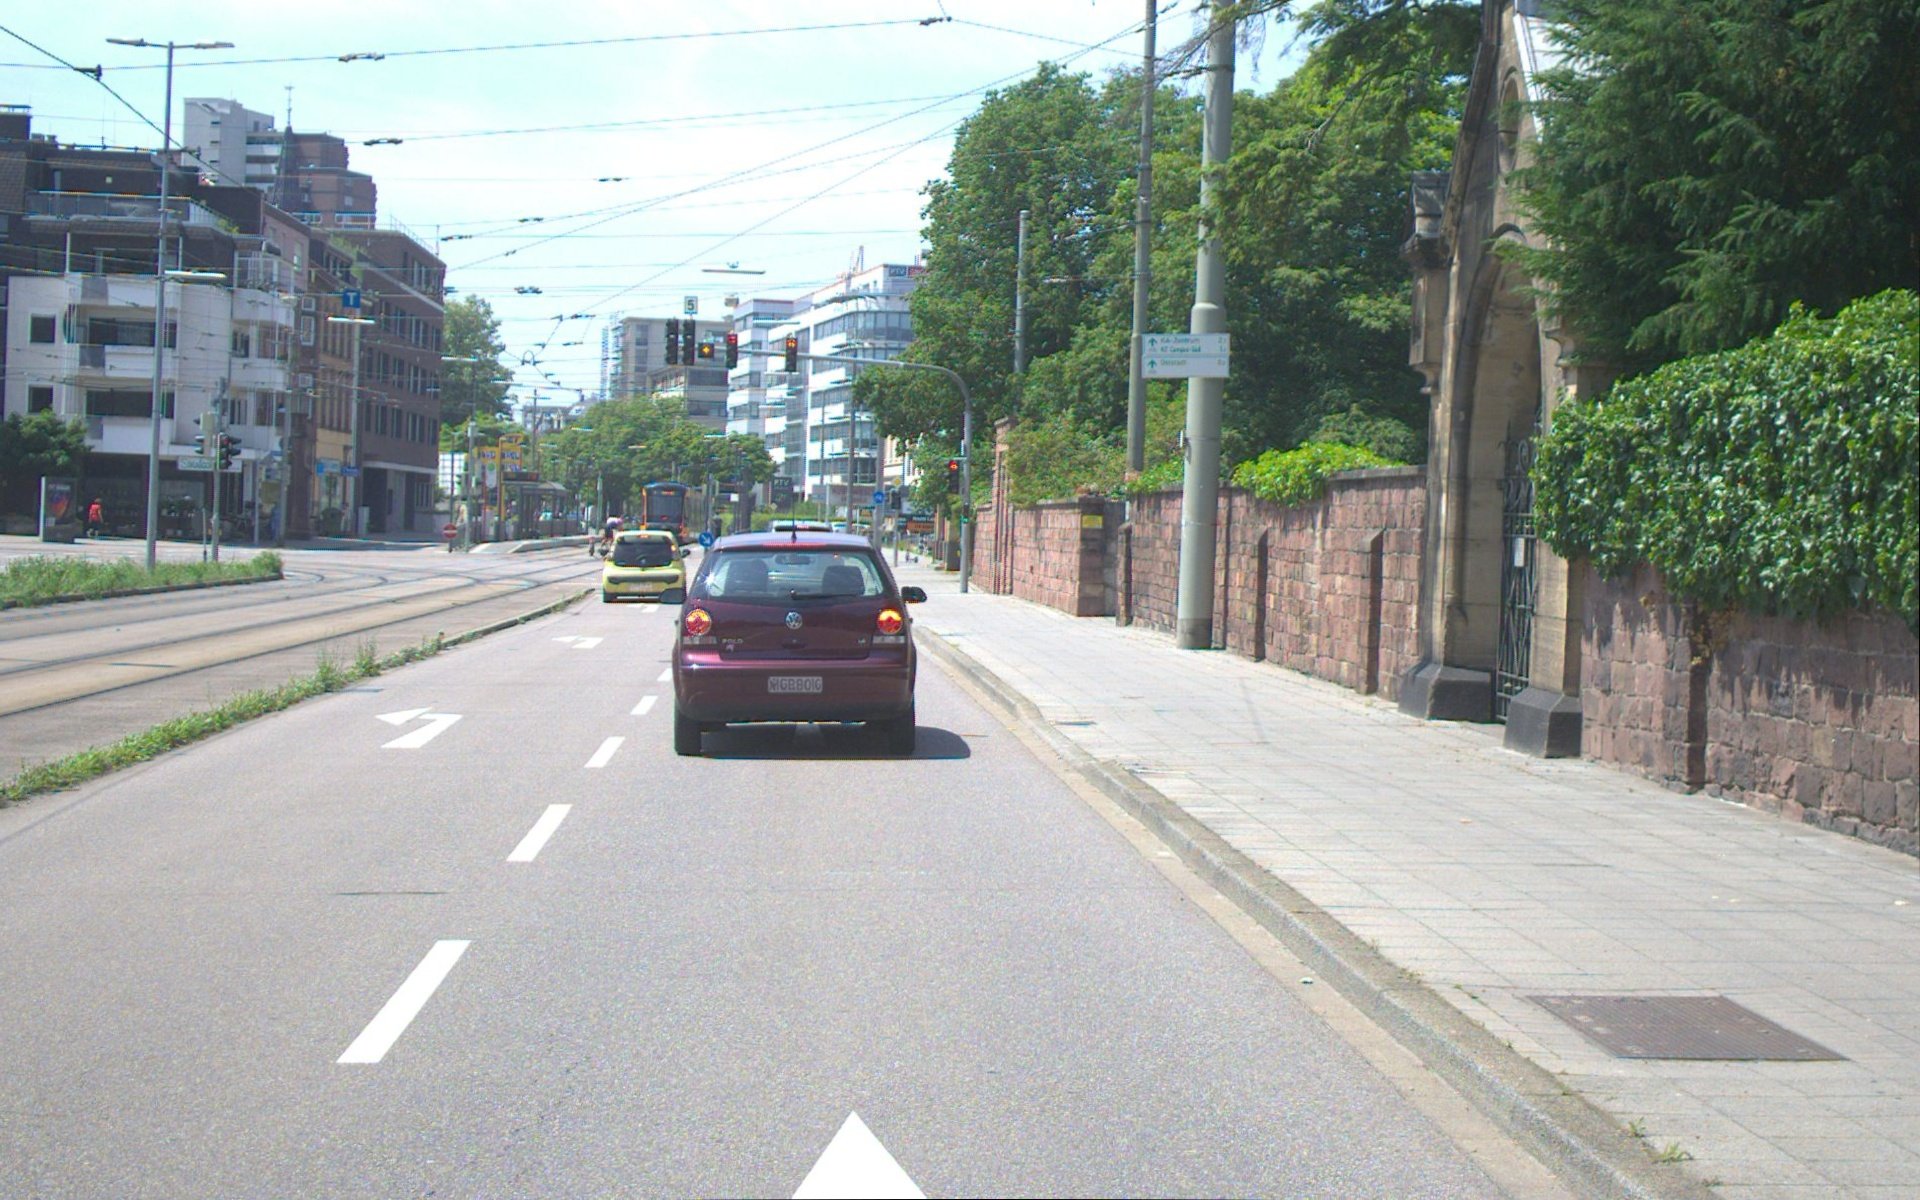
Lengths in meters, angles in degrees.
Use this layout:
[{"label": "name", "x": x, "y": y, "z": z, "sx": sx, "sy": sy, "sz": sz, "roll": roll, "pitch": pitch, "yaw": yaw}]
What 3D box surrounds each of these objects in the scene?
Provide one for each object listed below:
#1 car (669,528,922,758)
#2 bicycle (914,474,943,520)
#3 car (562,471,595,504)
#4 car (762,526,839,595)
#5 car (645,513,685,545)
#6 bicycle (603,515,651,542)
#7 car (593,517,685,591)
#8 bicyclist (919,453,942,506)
[{"label": "car", "x": -1.157, "y": 0.231, "z": 24.029, "sx": 1.610, "sy": 1.458, "sz": 4.086, "roll": 0, "pitch": 1, "yaw": -3}, {"label": "bicycle", "x": -1.106, "y": -3.552, "z": 119.291, "sx": 0.835, "sy": 1.520, "sz": 4.000, "roll": 1, "pitch": 1, "yaw": -2}, {"label": "car", "x": -24.256, "y": -7.128, "z": 218.655, "sx": 1.735, "sy": 2.007, "sz": 4.001, "roll": 2, "pitch": 1, "yaw": -2}, {"label": "car", "x": -3.353, "y": -0.848, "z": 72.088, "sx": 1.572, "sy": 1.411, "sz": 3.721, "roll": 0, "pitch": 1, "yaw": -3}, {"label": "car", "x": -15.552, "y": -3.724, "z": 181.495, "sx": 1.938, "sy": 1.635, "sz": 4.001, "roll": 1, "pitch": 1, "yaw": -3}, {"label": "bicycle", "x": -12.991, "y": -2.795, "z": 134.099, "sx": 1.865, "sy": 1.004, "sz": 0.579, "roll": 1, "pitch": 0, "yaw": -7}, {"label": "car", "x": -6.481, "y": -0.949, "z": 69.692, "sx": 1.723, "sy": 1.440, "sz": 3.293, "roll": 0, "pitch": 2, "yaw": -3}, {"label": "bicyclist", "x": -1.021, "y": -4.150, "z": 118.679, "sx": 0.721, "sy": 1.812, "sz": 0.889, "roll": 1, "pitch": 0, "yaw": -2}]
